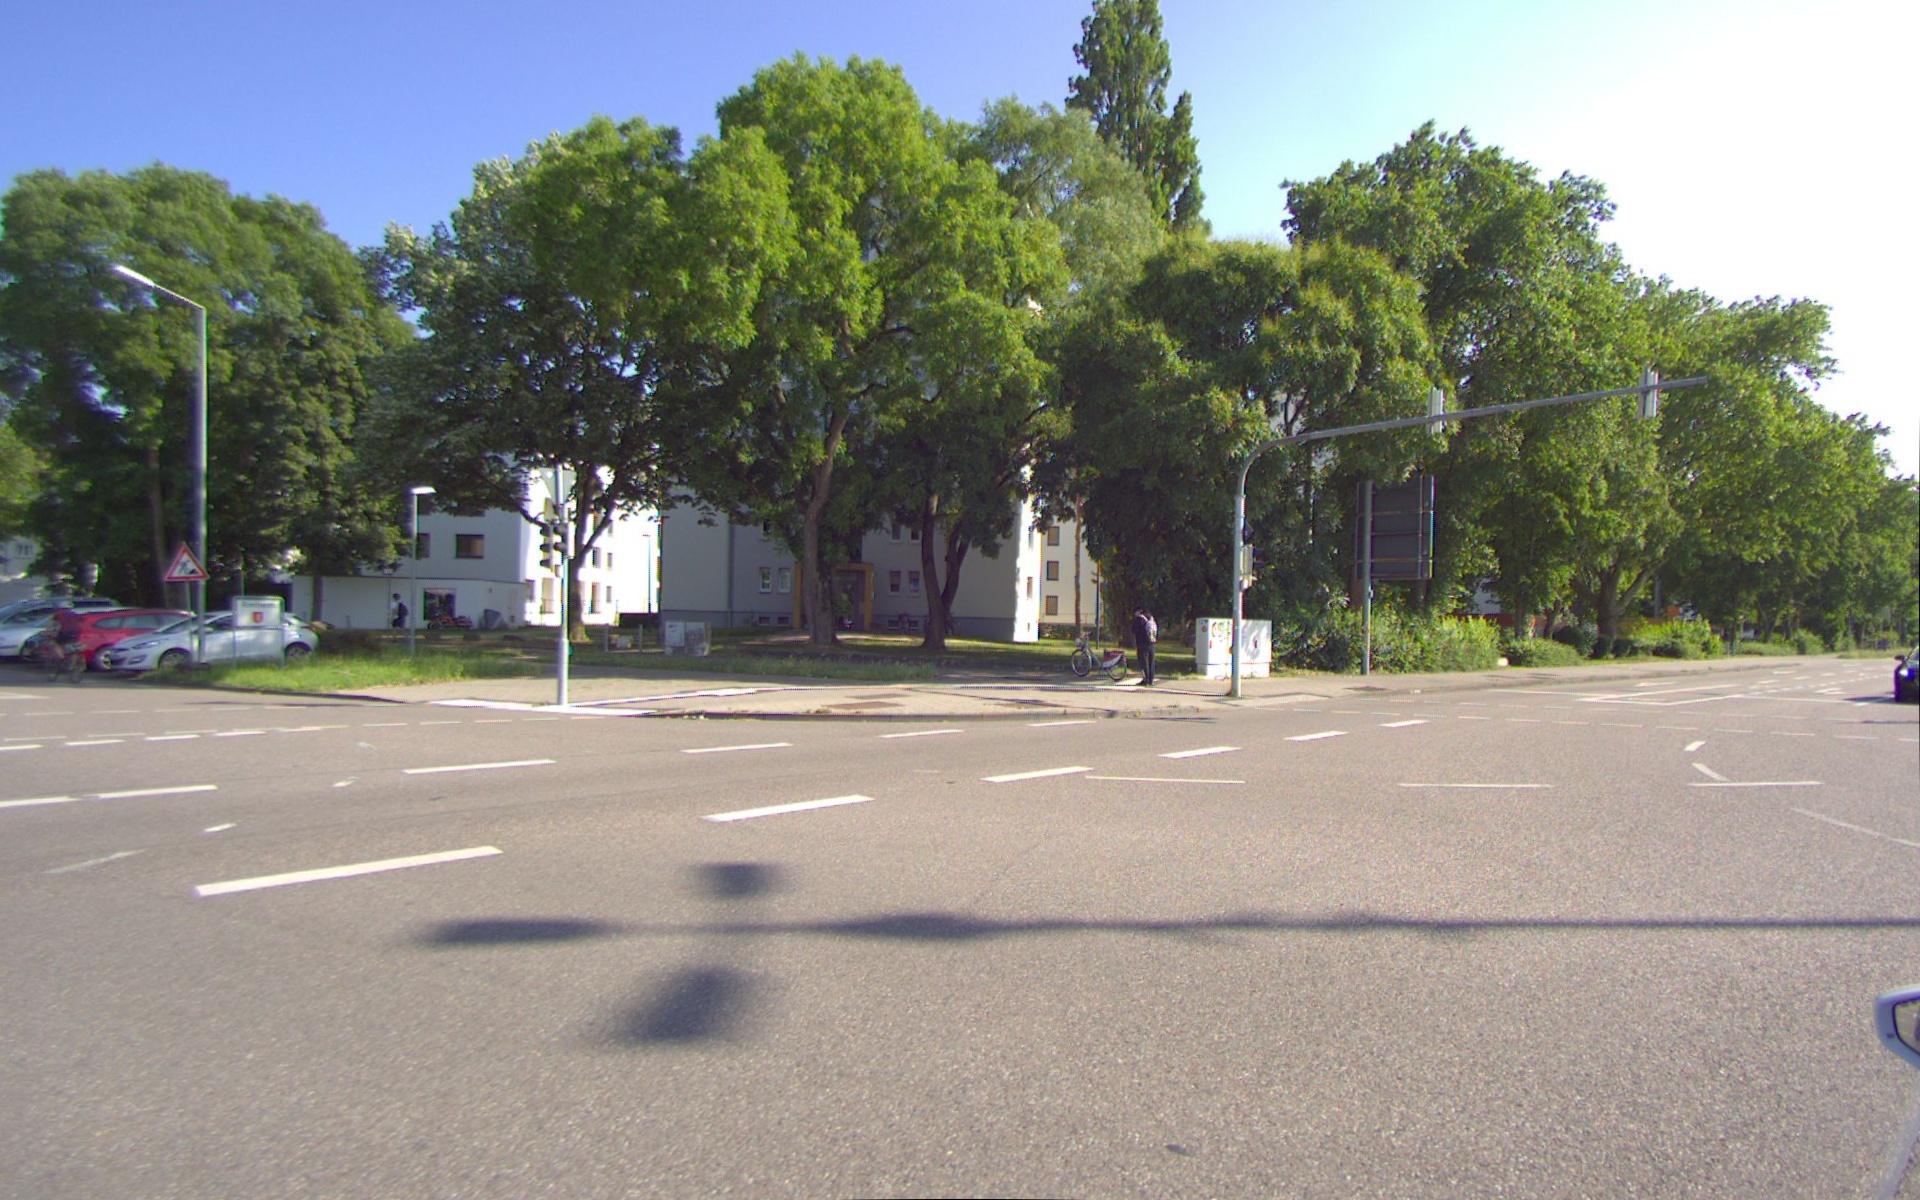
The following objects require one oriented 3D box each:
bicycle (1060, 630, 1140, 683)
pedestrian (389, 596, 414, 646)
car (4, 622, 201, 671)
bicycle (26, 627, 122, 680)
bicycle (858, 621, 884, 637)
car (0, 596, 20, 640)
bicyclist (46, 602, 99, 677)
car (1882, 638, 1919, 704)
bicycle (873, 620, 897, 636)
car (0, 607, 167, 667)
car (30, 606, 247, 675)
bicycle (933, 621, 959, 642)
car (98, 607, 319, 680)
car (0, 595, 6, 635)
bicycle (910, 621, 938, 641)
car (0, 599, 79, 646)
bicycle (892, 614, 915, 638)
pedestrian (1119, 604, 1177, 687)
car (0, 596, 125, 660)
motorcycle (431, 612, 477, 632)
[{"bbox_3d":[3.283,1.313,23.681,0.627,1.134,1.892,2,-1,-41],"label":"bicycle"},{"bbox_3d":[-19.567,0.723,35.191,0.696,1.736,0.621,1,0,-30],"label":"pedestrian"},{"bbox_3d":[-23.028,1.216,27.128,1.439,1.209,3.779,1,-1,31],"label":"car"},{"bbox_3d":[-19.121,1.147,21.672,2.030,1.054,0.622,1,-1,19],"label":"bicycle"},{"bbox_3d":[-4.243,1.376,47.987,0.573,0.718,2.240,1,0,13],"label":"bicycle"},{"bbox_3d":[-34.990,0.701,33.691,1.752,1.497,4.708,1,3,27],"label":"car"},{"bbox_3d":[-19.175,0.849,21.704,0.591,1.581,0.609,1,-1,18],"label":"bicyclist"},{"bbox_3d":[23.078,1.628,23.421,4.694,1.450,1.813,2,-2,-41],"label":"car"},{"bbox_3d":[-3.561,1.327,47.724,0.496,0.718,2.117,1,0,13],"label":"bicycle"},{"bbox_3d":[-25.318,1.020,28.541,1.753,1.541,3.993,1,-1,29],"label":"car"},{"bbox_3d":[-21.245,0.978,26.134,1.754,1.435,3.990,1,3,32],"label":"car"},{"bbox_3d":[-0.629,1.457,46.988,0.657,0.932,2.408,1,-1,13],"label":"bicycle"},{"bbox_3d":[-18.415,0.996,24.793,1.753,1.459,3.991,1,2,30],"label":"car"},{"bbox_3d":[-37.156,0.630,35.404,1.752,1.497,4.807,1,3,27],"label":"car"},{"bbox_3d":[-1.658,1.435,47.241,0.662,0.887,2.487,1,-1,13],"label":"bicycle"},{"bbox_3d":[-32.849,0.786,33.583,1.752,1.497,4.807,1,2,27],"label":"car"},{"bbox_3d":[-2.654,1.244,47.286,0.600,1.080,1.919,2,-2,11],"label":"bicycle"},{"bbox_3d":[4.167,0.999,22.267,0.923,1.775,0.810,1,0,-37],"label":"pedestrian"},{"bbox_3d":[-27.683,0.814,29.887,1.753,1.835,3.993,1,-1,29],"label":"car"},{"bbox_3d":[-25.963,1.123,51.534,2.006,0.977,0.526,1,0,-8],"label":"motorcycle"}]
